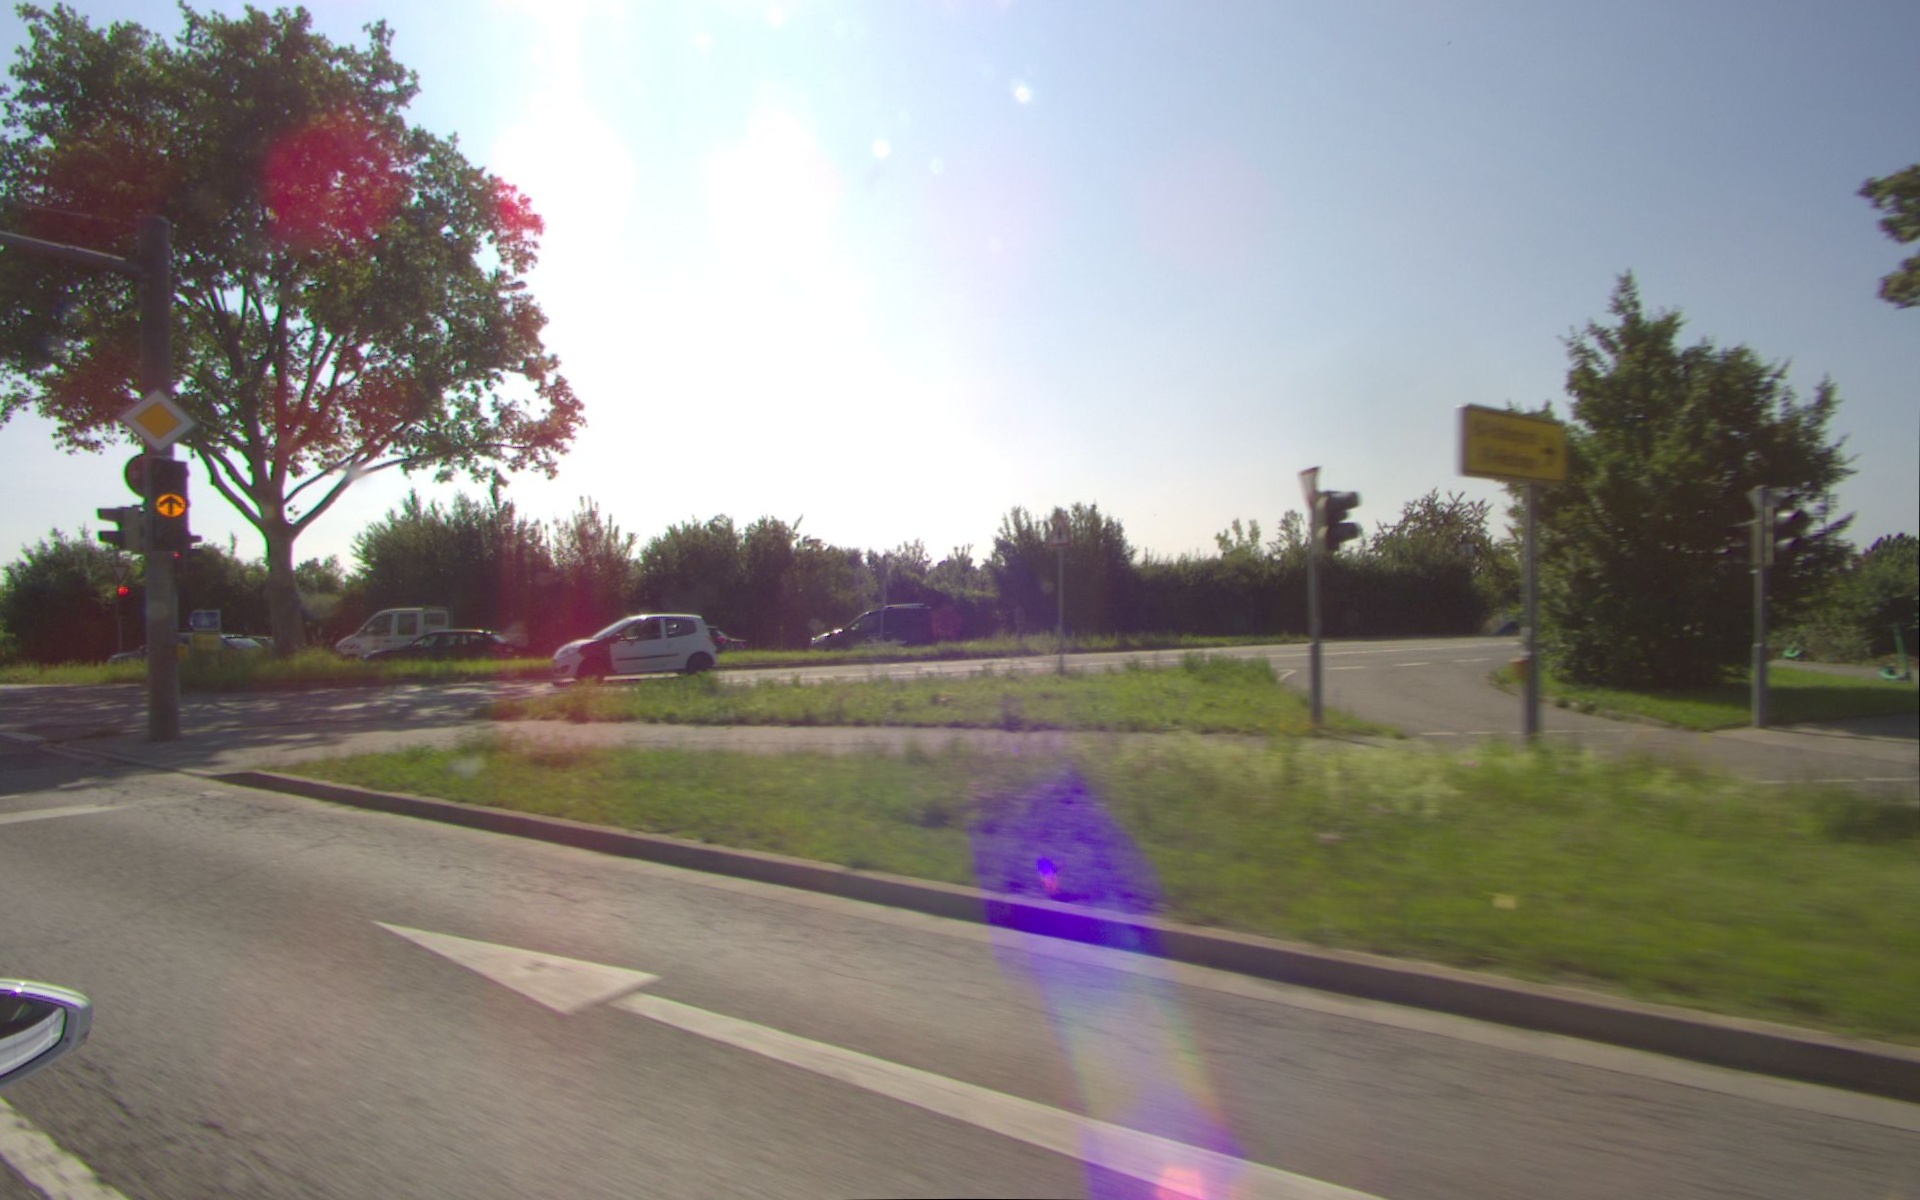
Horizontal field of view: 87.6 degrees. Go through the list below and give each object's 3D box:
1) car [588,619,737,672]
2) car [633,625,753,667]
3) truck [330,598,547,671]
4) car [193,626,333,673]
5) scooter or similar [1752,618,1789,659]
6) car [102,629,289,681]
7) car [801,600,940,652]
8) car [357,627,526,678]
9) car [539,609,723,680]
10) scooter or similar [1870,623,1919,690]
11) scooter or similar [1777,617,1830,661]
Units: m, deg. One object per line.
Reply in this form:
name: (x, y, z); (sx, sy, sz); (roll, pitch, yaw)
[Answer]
car: (-9.615, 1.500, 32.652); (4.383, 1.655, 1.888); (0, -3, -6)
car: (-9.553, 1.667, 36.060); (3.923, 1.437, 1.892); (0, -3, -6)
truck: (-18.165, 1.243, 35.147); (6.349, 2.415, 2.347); (0, -3, 0)
car: (-24.209, 1.716, 34.849); (3.750, 1.566, 1.622); (-1, -3, 3)
scooter or similar: (22.615, 1.065, 27.958); (0.492, 1.131, 1.380); (-1, -1, 26)
car: (-24.388, 1.736, 32.061); (4.527, 1.567, 2.001); (-1, -1, 3)
car: (-3.017, 0.905, 33.394); (4.387, 1.655, 1.886); (1, -3, -13)
car: (-16.582, 1.661, 32.190); (4.382, 1.547, 2.001); (0, -2, -1)
car: (-7.474, 0.971, 22.815); (3.703, 1.488, 1.776); (0, -1, -31)
scooter or similar: (18.250, 1.079, 19.452); (0.427, 1.251, 0.968); (0, 1, 13)
scooter or similar: (22.271, 1.020, 26.458); (0.491, 1.131, 1.383); (0, -1, 14)
